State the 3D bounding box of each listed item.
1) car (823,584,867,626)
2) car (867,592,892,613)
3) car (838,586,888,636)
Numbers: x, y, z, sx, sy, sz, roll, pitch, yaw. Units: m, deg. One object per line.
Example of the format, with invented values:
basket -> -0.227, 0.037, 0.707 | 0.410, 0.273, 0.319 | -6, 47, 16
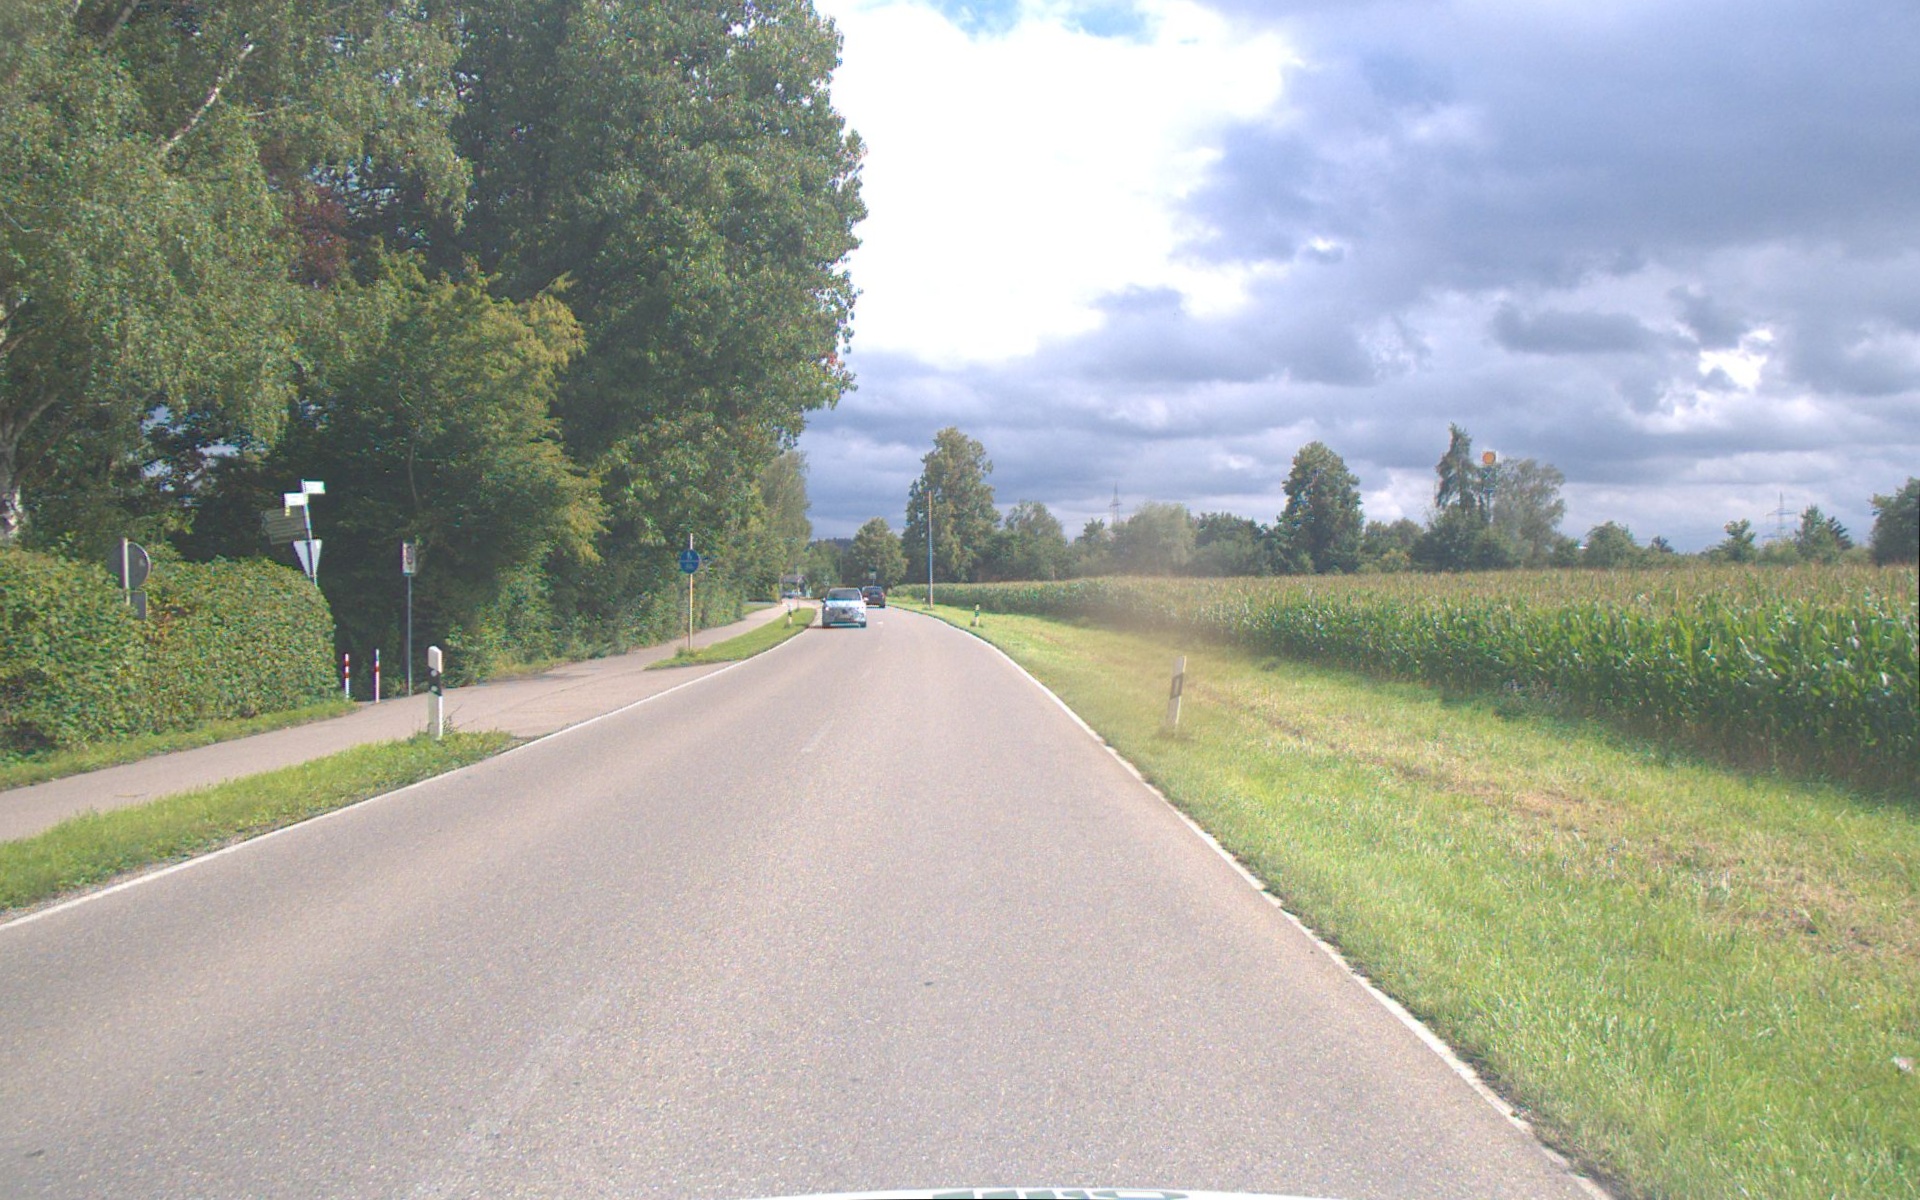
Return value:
car -> -4.876, 0.193, 70.640 | 1.775, 1.679, 4.289 | -2, 1, -3
car -> -6.457, 0.178, 132.677 | 1.954, 1.613, 3.998 | 2, 0, -3
car -> -4.180, 0.472, 70.761 | 1.955, 2.049, 3.996 | 2, 0, -5
